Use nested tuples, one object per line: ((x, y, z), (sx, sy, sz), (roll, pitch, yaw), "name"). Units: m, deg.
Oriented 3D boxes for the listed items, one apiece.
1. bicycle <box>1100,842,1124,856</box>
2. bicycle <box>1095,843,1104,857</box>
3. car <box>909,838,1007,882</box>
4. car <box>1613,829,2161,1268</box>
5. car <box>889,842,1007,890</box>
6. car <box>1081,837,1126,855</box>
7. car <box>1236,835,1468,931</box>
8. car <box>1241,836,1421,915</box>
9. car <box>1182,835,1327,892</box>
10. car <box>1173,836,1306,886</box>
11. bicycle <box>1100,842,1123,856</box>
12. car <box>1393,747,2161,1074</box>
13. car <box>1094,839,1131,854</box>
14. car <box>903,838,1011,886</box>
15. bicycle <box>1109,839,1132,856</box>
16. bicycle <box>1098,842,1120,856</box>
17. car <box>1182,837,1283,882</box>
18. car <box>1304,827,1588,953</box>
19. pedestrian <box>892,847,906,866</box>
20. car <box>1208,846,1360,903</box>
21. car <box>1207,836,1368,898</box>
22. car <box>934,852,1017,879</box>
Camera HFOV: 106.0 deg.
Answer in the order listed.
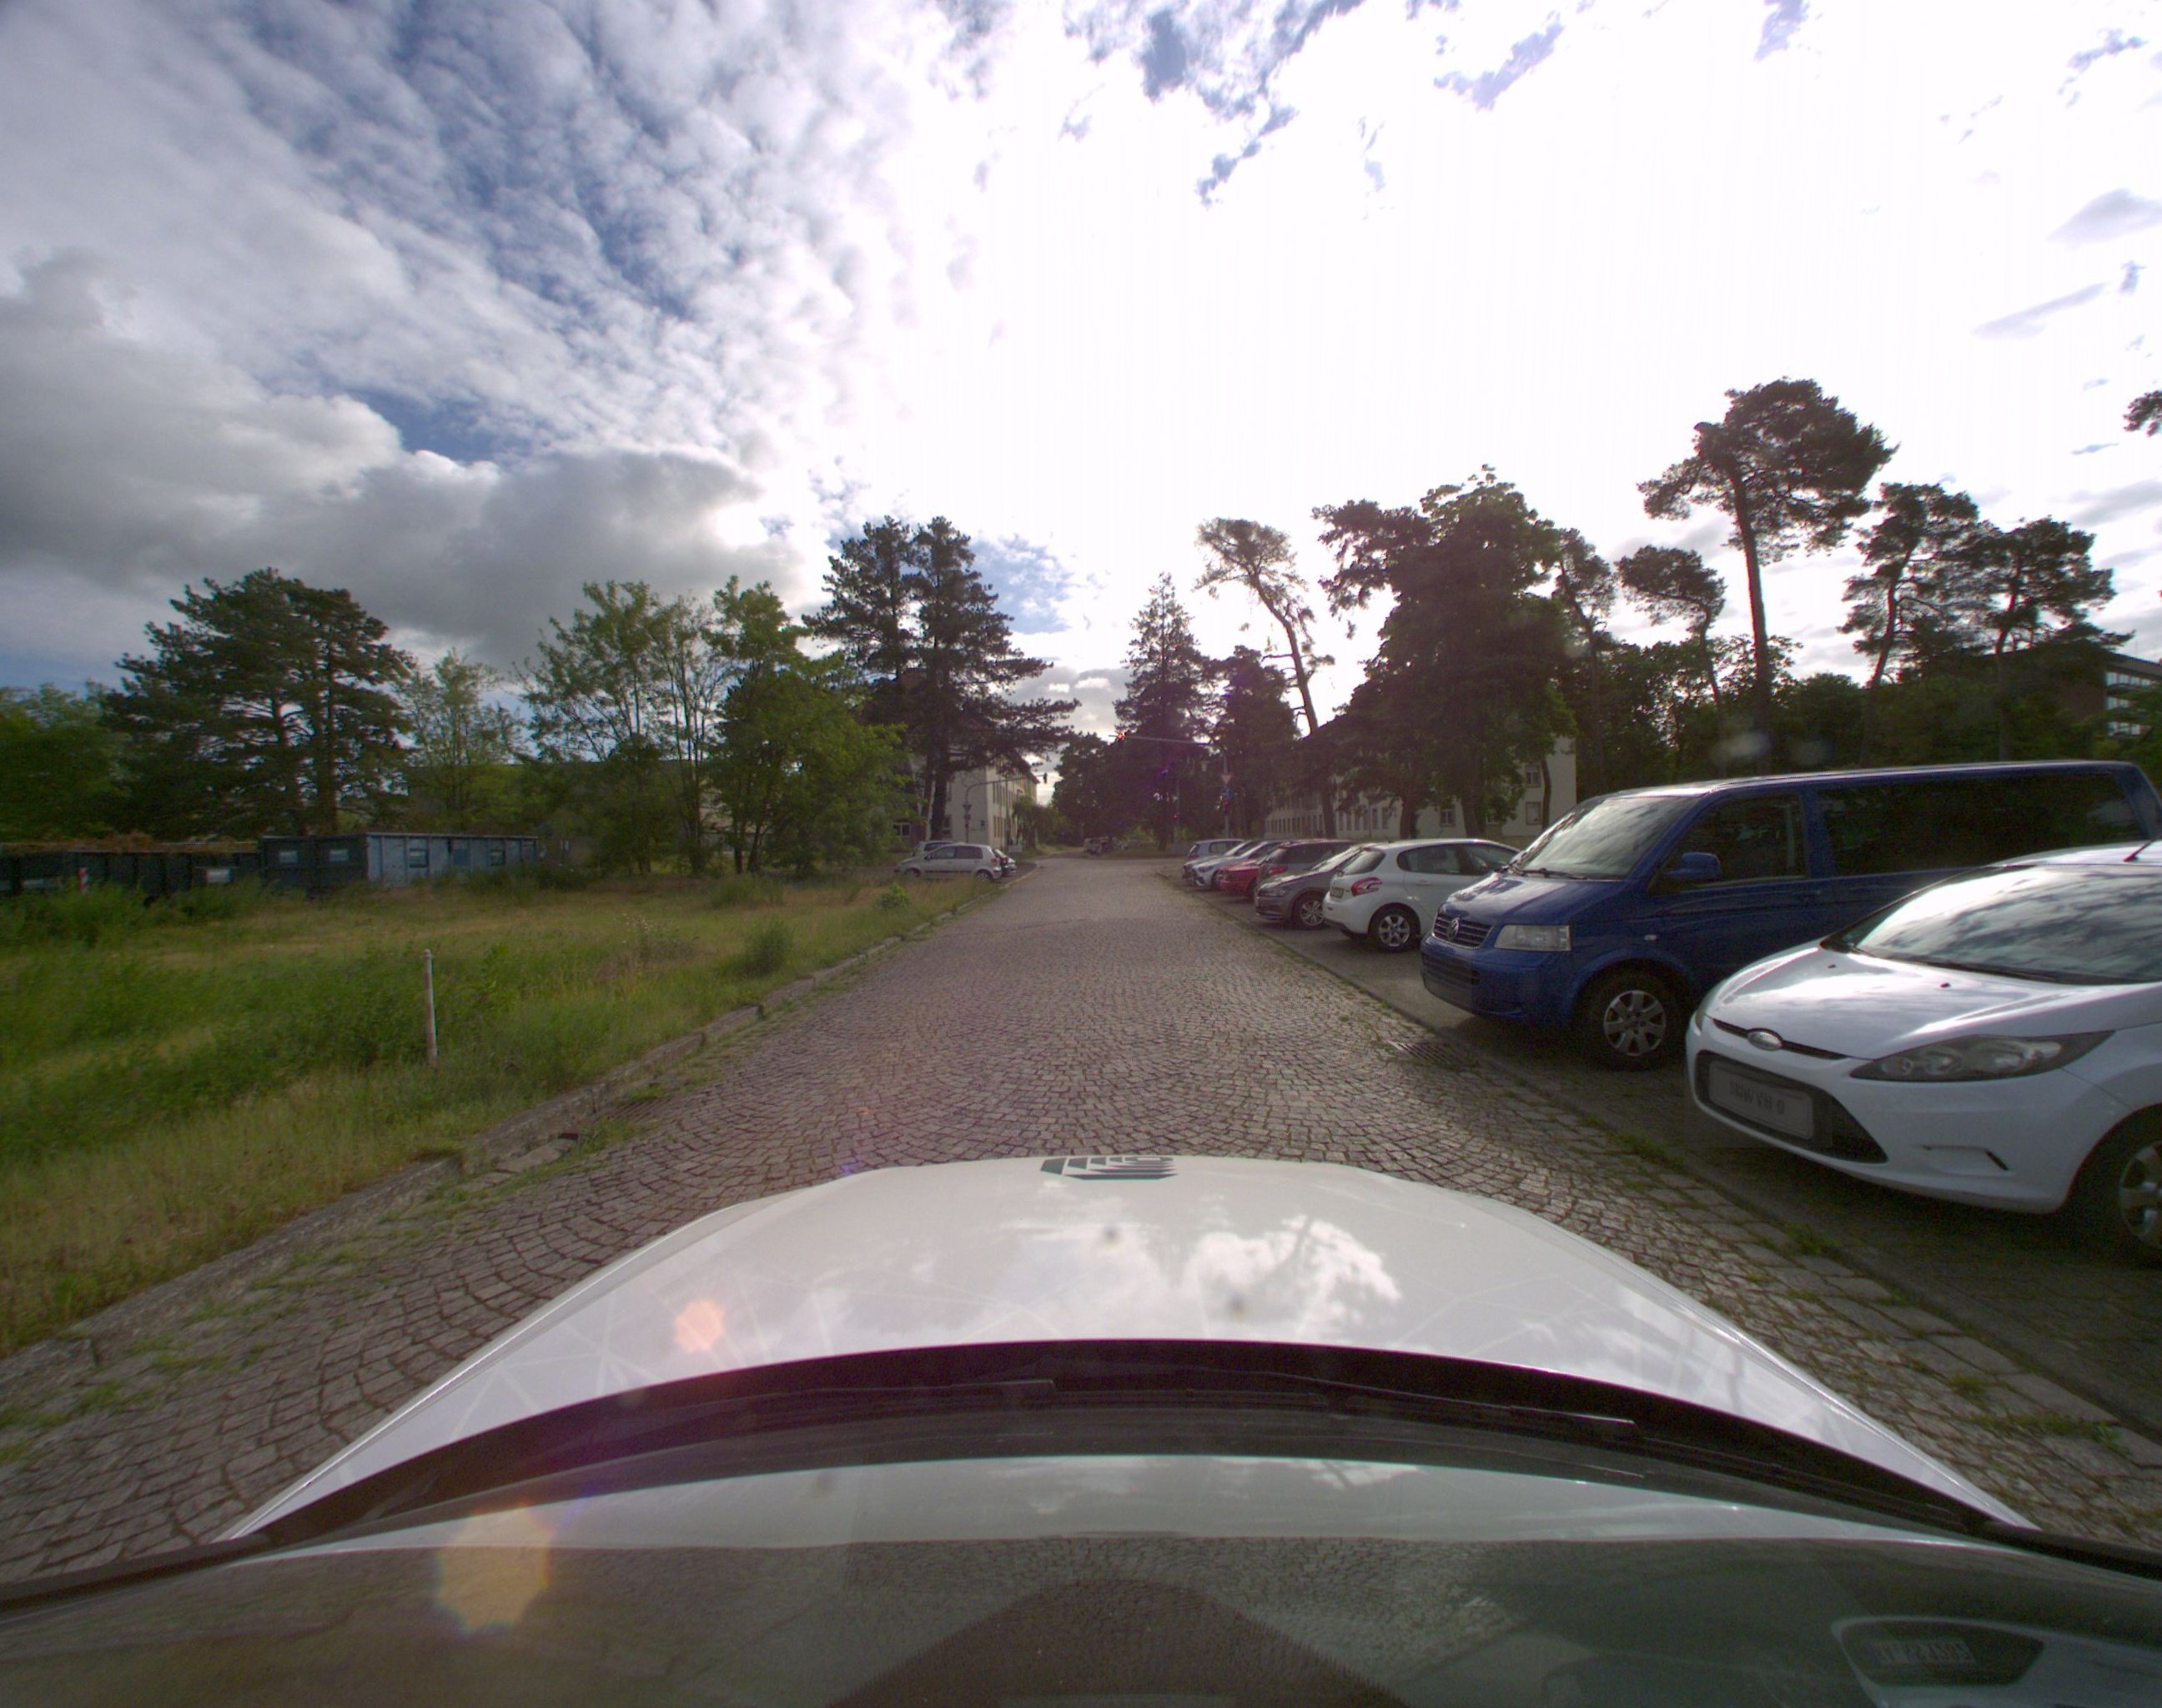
((2.993, -0.496, 79.051), (2.158, 1.268, 0.811), (-1, 1, -6), "bicycle")
((1.684, -0.377, 75.295), (0.807, 1.268, 1.974), (-1, 1, 2), "bicycle")
((-5.179, 0.231, 34.773), (3.982, 1.749, 1.923), (-1, 1, -7), "car")
((4.851, 0.646, 3.769), (3.713, 1.424, 1.653), (-3, 1, -2), "car")
((-4.688, 0.411, 29.281), (3.981, 1.552, 1.996), (-2, 1, -6), "car")
((2.695, -0.967, 96.874), (5.051, 2.013, 1.993), (-1, 1, -10), "car")
((4.794, 0.457, 14.607), (3.598, 1.506, 1.658), (-2, 1, -10), "car")
((5.310, 0.414, 17.484), (3.293, 1.504, 1.658), (-2, 1, -10), "car")
((5.215, 0.257, 24.677), (3.981, 1.543, 1.661), (-2, 1, -5), "car")
((5.292, 0.212, 27.494), (4.116, 1.543, 1.661), (-2, 1, -5), "car")
((2.998, -0.498, 79.638), (2.158, 1.268, 0.811), (-1, 1, -6), "bicycle")
((5.097, 0.341, 6.223), (4.769, 2.039, 1.737), (-1, 1, -2), "car")
((3.609, -0.824, 93.595), (3.981, 1.644, 1.996), (-1, 1, -6), "car")
((-4.761, 0.273, 31.773), (3.981, 1.705, 1.996), (-2, 1, -6), "car")
((3.934, -0.679, 80.344), (2.158, 1.615, 0.811), (-1, 1, -6), "bicycle")
((2.780, -0.502, 80.852), (2.158, 1.268, 0.811), (-1, 1, -6), "bicycle")
((5.560, 0.184, 30.064), (3.384, 1.543, 1.389), (-2, 1, -5), "car")
((5.075, 0.456, 11.620), (3.283, 1.504, 1.663), (-3, 1, -2), "car")
((-14.616, 0.194, 65.345), (0.895, 1.498, 0.905), (-1, 1, 2), "pedestrian")
((4.974, 0.475, 20.201), (3.287, 1.267, 1.661), (-2, 1, -5), "car")
((5.627, 0.326, 22.446), (3.981, 1.543, 1.661), (-1, 1, -5), "car")
((-4.750, 0.511, 37.043), (3.665, 1.093, 1.643), (-2, 1, -6), "car")
